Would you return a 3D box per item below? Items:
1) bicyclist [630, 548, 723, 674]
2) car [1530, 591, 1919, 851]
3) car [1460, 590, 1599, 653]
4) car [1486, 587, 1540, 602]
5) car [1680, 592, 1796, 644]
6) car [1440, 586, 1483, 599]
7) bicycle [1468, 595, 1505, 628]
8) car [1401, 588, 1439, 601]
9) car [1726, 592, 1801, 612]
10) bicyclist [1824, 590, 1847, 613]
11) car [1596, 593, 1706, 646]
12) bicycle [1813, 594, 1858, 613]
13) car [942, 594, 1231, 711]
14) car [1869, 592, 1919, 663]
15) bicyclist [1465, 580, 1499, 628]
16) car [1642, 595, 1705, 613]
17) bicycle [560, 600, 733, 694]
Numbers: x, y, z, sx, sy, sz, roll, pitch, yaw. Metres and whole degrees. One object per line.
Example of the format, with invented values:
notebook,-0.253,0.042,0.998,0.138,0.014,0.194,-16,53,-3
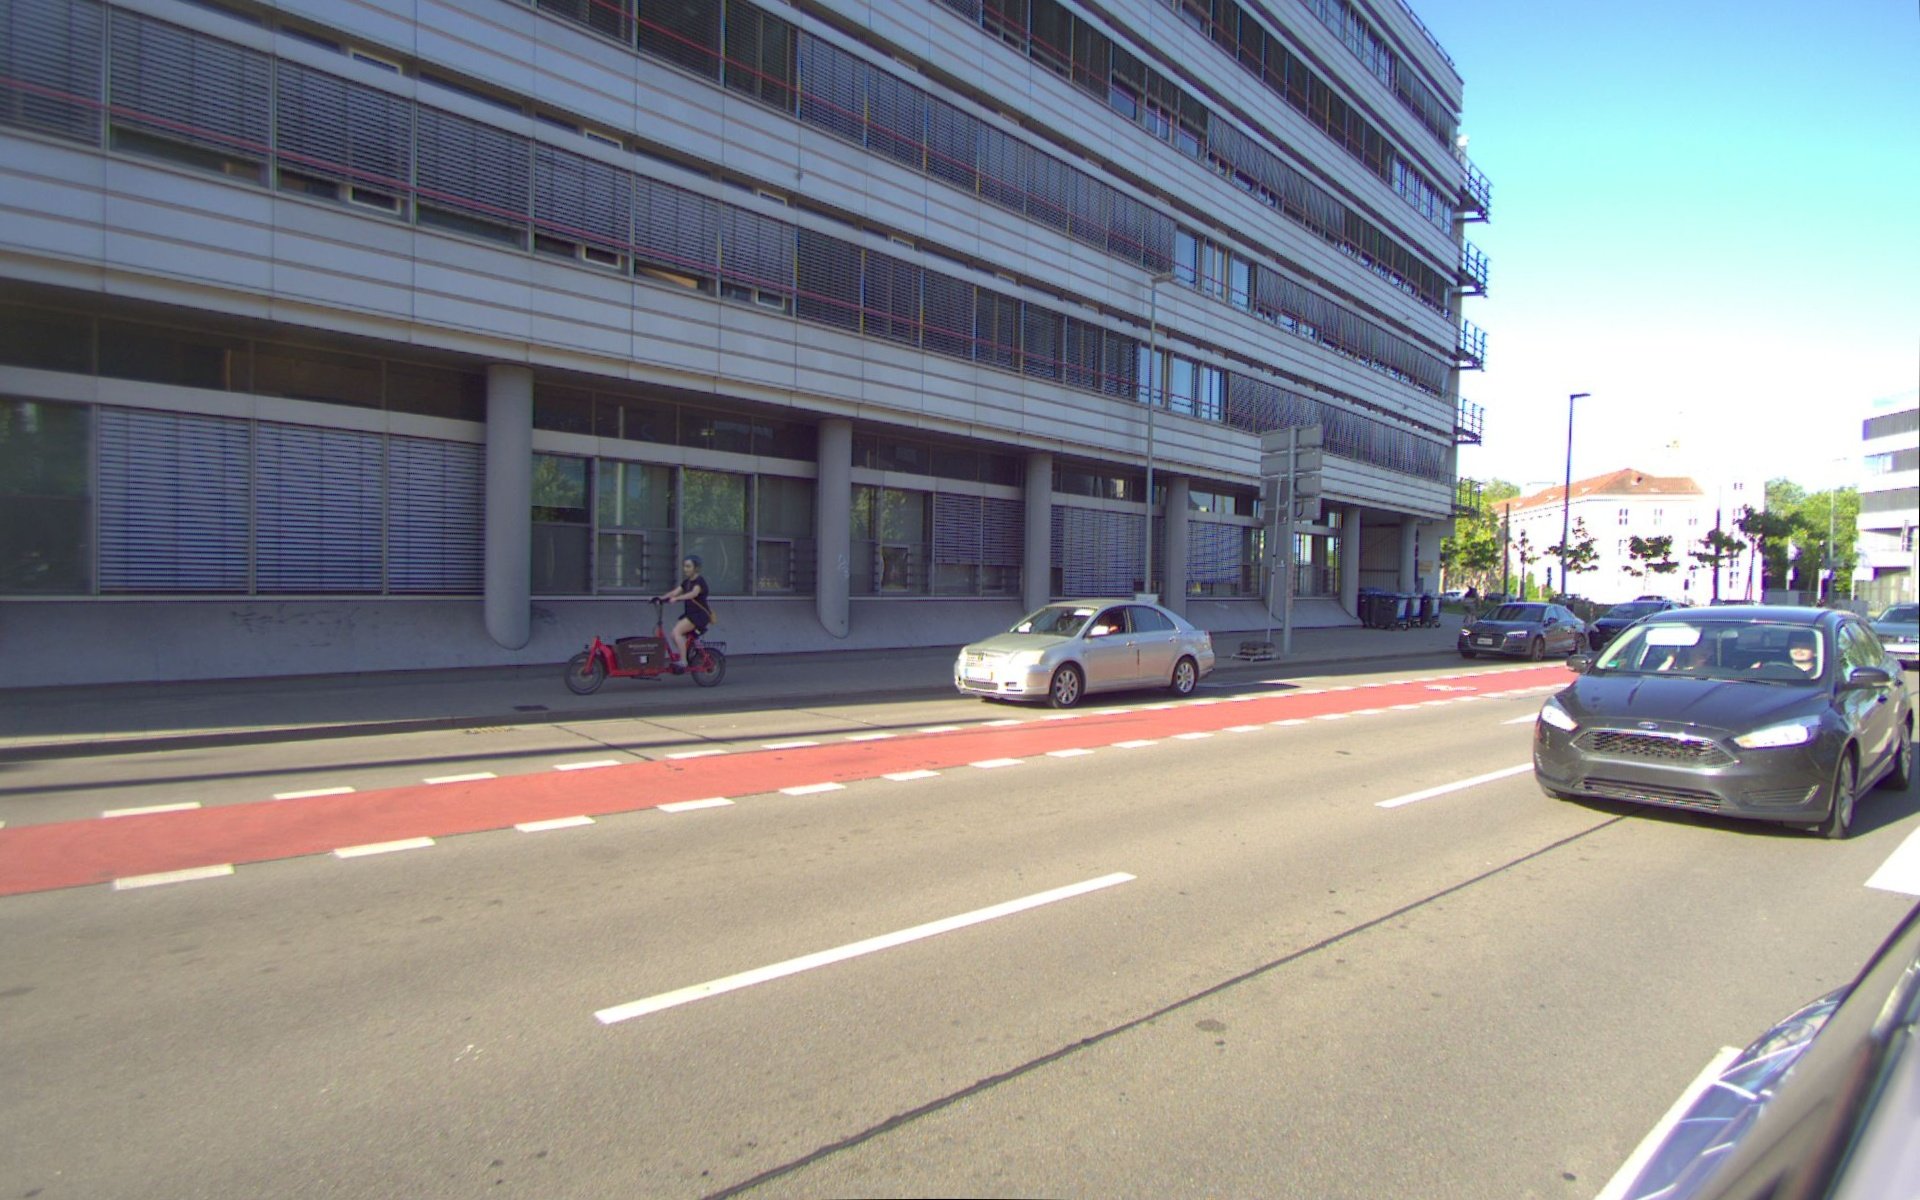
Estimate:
bicyclist,-3.838,0.121,13.711,1.026,1.584,0.625,-3,8,-44
car,5.999,0.667,7.671,4.081,1.451,1.688,0,0,-41
car,14.199,0.558,25.145,4.038,1.460,1.713,2,-2,-40
car,56.180,-0.584,102.821,1.958,1.440,4.535,0,1,-24
car,25.389,0.602,33.003,3.918,1.463,1.443,3,2,-28
car,54.374,-0.837,109.783,1.958,1.259,4.009,0,1,-15
bicycle,18.408,0.402,35.371,1.672,1.070,0.505,-1,4,-40
car,52.625,-0.662,115.904,1.894,1.393,4.009,1,1,-14
car,64.721,0.134,81.570,1.958,1.440,4.304,0,1,-21
bicyclist,64.851,0.117,74.998,0.862,1.627,1.009,0,1,-27
car,20.451,0.537,29.890,3.930,1.464,1.734,0,0,-41
bicycle,64.844,0.278,74.979,0.932,1.328,2.376,0,1,-27
car,1.983,0.661,15.015,4.410,1.449,1.754,0,2,-41
car,22.453,0.603,23.055,3.806,1.523,1.751,0,2,-35
bicyclist,18.252,0.131,35.368,0.973,1.638,0.685,0,1,-39
car,62.009,0.324,88.014,1.958,1.440,4.009,0,1,-21
bicycle,-4.081,0.577,13.319,2.170,1.044,0.499,-2,7,-44
